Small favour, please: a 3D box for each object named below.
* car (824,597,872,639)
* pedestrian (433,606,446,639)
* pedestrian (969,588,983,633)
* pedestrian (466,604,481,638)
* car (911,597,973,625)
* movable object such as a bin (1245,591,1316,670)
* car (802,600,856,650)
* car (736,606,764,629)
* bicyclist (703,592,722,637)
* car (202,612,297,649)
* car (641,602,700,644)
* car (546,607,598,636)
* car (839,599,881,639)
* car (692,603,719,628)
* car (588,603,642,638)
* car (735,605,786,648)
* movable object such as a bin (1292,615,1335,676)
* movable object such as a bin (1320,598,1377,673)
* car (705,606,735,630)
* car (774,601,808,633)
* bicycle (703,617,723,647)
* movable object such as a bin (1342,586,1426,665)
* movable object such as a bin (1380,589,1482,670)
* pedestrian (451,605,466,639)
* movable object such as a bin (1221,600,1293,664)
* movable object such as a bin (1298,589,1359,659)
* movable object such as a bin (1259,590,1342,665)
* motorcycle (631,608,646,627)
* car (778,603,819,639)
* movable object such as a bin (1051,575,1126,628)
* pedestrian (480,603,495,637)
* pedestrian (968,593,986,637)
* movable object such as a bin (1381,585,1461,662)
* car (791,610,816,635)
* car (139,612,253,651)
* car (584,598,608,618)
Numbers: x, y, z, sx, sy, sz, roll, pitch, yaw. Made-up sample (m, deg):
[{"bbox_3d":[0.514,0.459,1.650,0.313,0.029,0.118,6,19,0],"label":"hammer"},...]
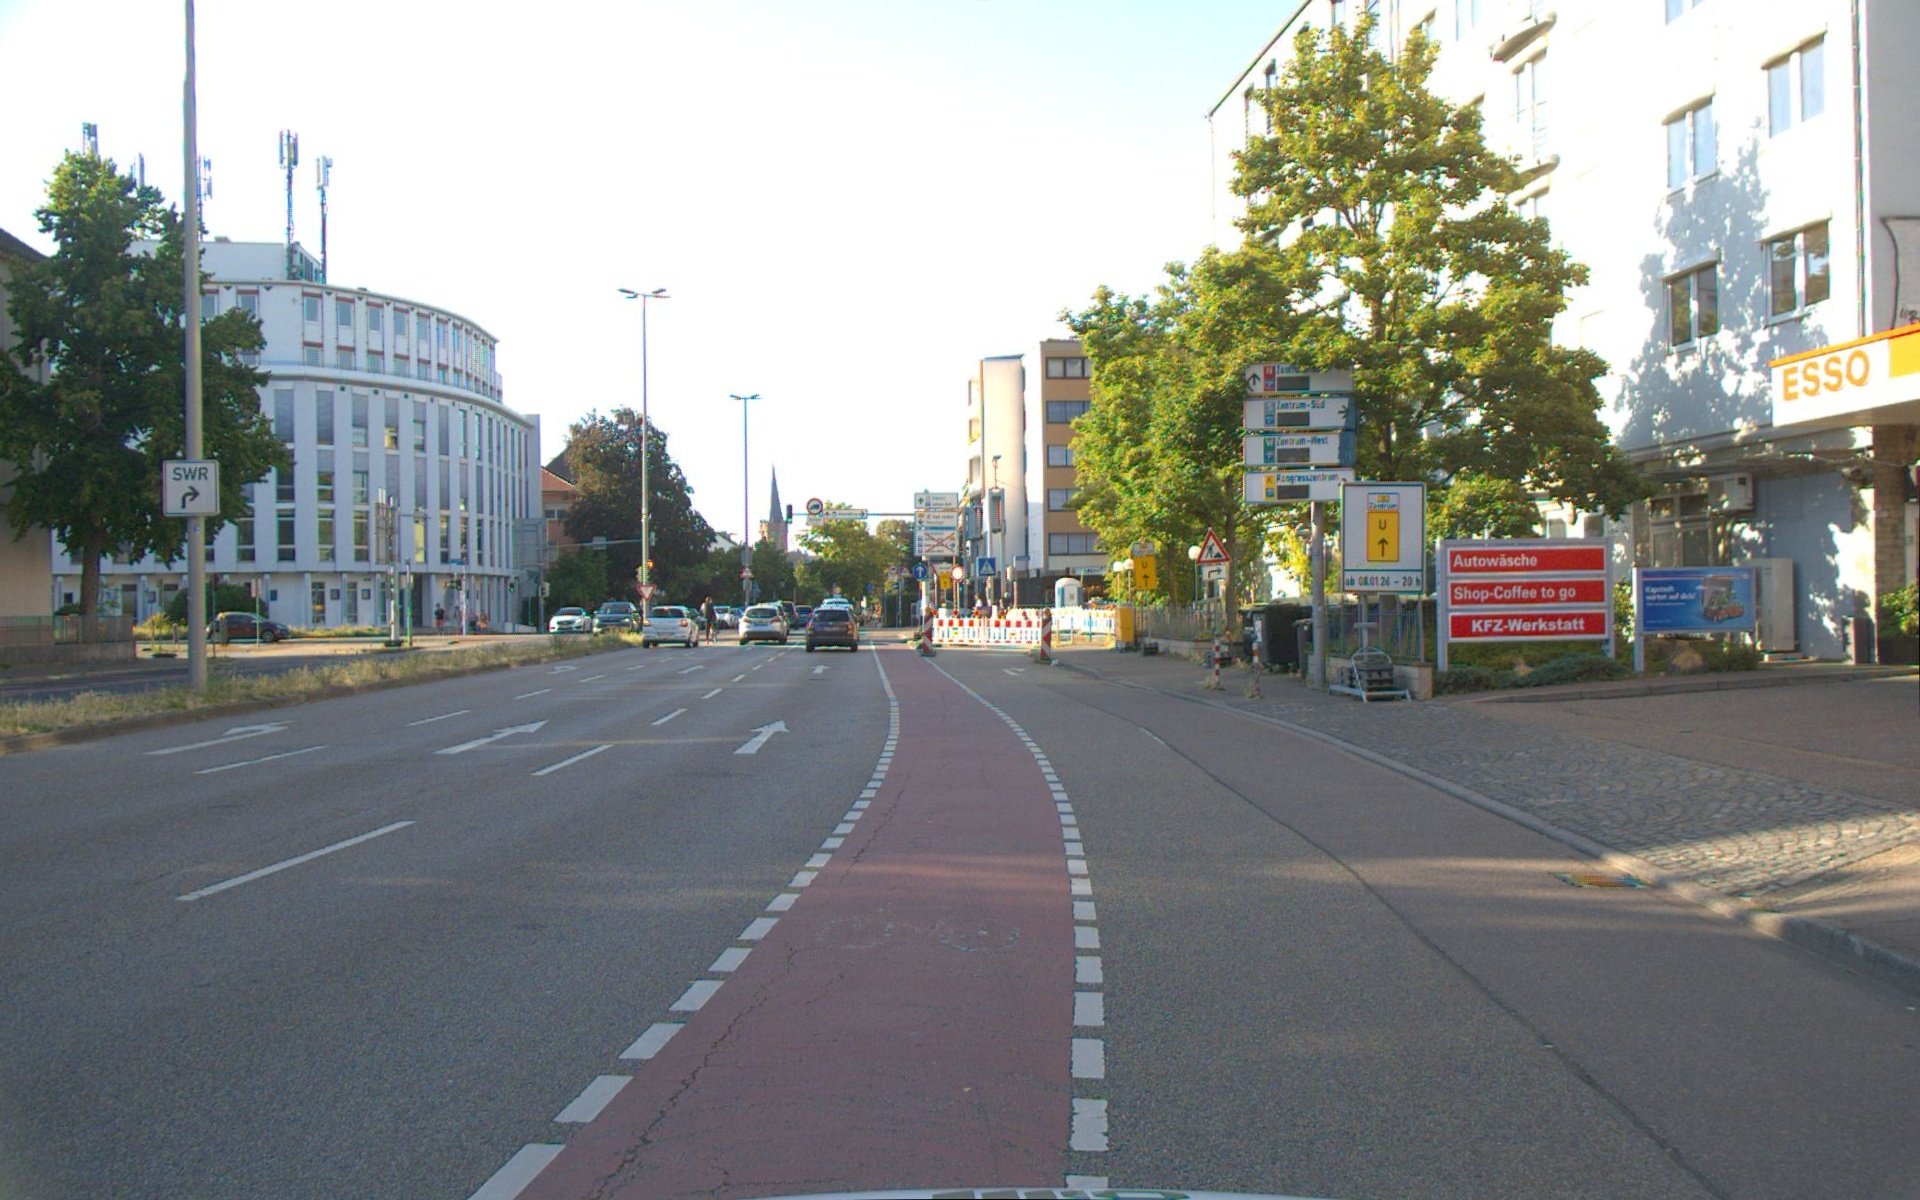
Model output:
[{"bbox_3d":[-4.444,0.692,65.982,1.693,1.606,3.722,-1,0,-1],"label":"car"},{"bbox_3d":[-29.452,1.272,93.514,0.649,1.891,0.775,-1,0,-16],"label":"pedestrian"},{"bbox_3d":[0.676,0.456,70.411,0.510,1.901,0.614,-1,0,-3],"label":"pedestrian"},{"bbox_3d":[-27.345,1.156,92.919,0.647,1.901,0.777,-1,0,-6],"label":"pedestrian"},{"bbox_3d":[-1.294,0.822,119.412,4.279,1.910,1.998,-1,0,-6],"label":"car"},{"bbox_3d":[6.410,0.623,33.168,1.071,1.534,1.253,-1,-3,-4],"label":"movable object such as a bin"},{"bbox_3d":[-4.390,0.803,55.788,1.713,1.591,4.047,-1,0,-3],"label":"car"},{"bbox_3d":[-14.693,1.213,115.860,1.812,1.487,4.044,-1,0,-7],"label":"car"},{"bbox_3d":[-9.776,0.571,65.387,0.678,1.758,0.986,-1,0,-7],"label":"bicyclist"},{"bbox_3d":[-33.986,1.454,79.155,3.736,1.557,1.860,-2,-2,-7],"label":"car"},{"bbox_3d":[-10.547,0.819,60.501,1.651,1.482,3.997,0,0,-3],"label":"car"},{"bbox_3d":[-21.006,1.142,89.755,1.954,1.438,4.441,-2,0,-3],"label":"car"},{"bbox_3d":[-4.491,0.830,73.812,1.784,1.668,3.996,-1,0,-5],"label":"car"},{"bbox_3d":[-19.951,1.197,129.874,1.878,1.843,4.710,-1,0,-7],"label":"car"},{"bbox_3d":[-16.853,0.990,80.920,1.954,1.606,4.894,-1,0,-5],"label":"car"},{"bbox_3d":[-7.784,1.012,64.772,1.713,1.591,4.047,-1,0,-3],"label":"car"},{"bbox_3d":[6.378,0.816,29.860,0.606,1.064,0.616,-1,0,-2],"label":"movable object such as a bin"},{"bbox_3d":[7.091,0.635,30.250,0.762,1.331,0.864,-1,0,-5],"label":"movable object such as a bin"},{"bbox_3d":[-16.053,1.196,110.624,1.812,1.487,4.044,-1,0,-7],"label":"car"},{"bbox_3d":[-9.249,0.903,90.641,1.631,1.686,3.997,-1,0,-3],"label":"car"},{"bbox_3d":[-9.767,1.257,65.487,0.686,1.119,2.254,-1,0,-7],"label":"bicycle"},{"bbox_3d":[8.348,0.496,32.639,1.281,1.458,1.279,-3,1,1],"label":"movable object such as a bin"},{"bbox_3d":[8.619,0.534,30.296,1.576,1.435,0.864,-1,0,-6],"label":"movable object such as a bin"},{"bbox_3d":[-28.419,1.237,93.741,0.746,1.874,0.815,-1,0,-14],"label":"pedestrian"},{"bbox_3d":[6.598,0.711,36.794,1.195,1.367,1.049,-1,0,-19],"label":"movable object such as a bin"},{"bbox_3d":[8.225,0.528,36.974,1.082,1.511,0.955,-1,0,-5],"label":"movable object such as a bin"},{"bbox_3d":[7.175,0.569,34.877,1.304,1.511,1.206,-1,0,-14],"label":"movable object such as a bin"},{"bbox_3d":[-22.322,1.213,114.733,0.755,1.307,2.839,-1,0,-6],"label":"motorcycle"},{"bbox_3d":[-7.566,0.957,77.729,1.713,1.591,4.047,-1,0,-3],"label":"car"},{"bbox_3d":[6.029,0.084,77.867,3.263,2.425,1.527,-1,0,-5],"label":"movable object such as a bin"},{"bbox_3d":[-26.595,1.108,93.095,0.615,1.901,1.125,-1,0,-9],"label":"pedestrian"},{"bbox_3d":[0.728,0.649,69.644,0.726,1.831,0.715,-1,0,-1],"label":"pedestrian"},{"bbox_3d":[9.185,0.452,32.997,1.171,1.446,1.279,-3,1,-2],"label":"movable object such as a bin"},{"bbox_3d":[-11.282,1.621,119.245,1.631,1.686,3.997,-1,0,-3],"label":"car"},{"bbox_3d":[-35.130,1.425,76.116,4.256,1.657,2.000,-1,0,0],"label":"car"},{"bbox_3d":[-29.672,0.659,134.846,1.808,1.599,3.989,-1,0,-11],"label":"car"}]
